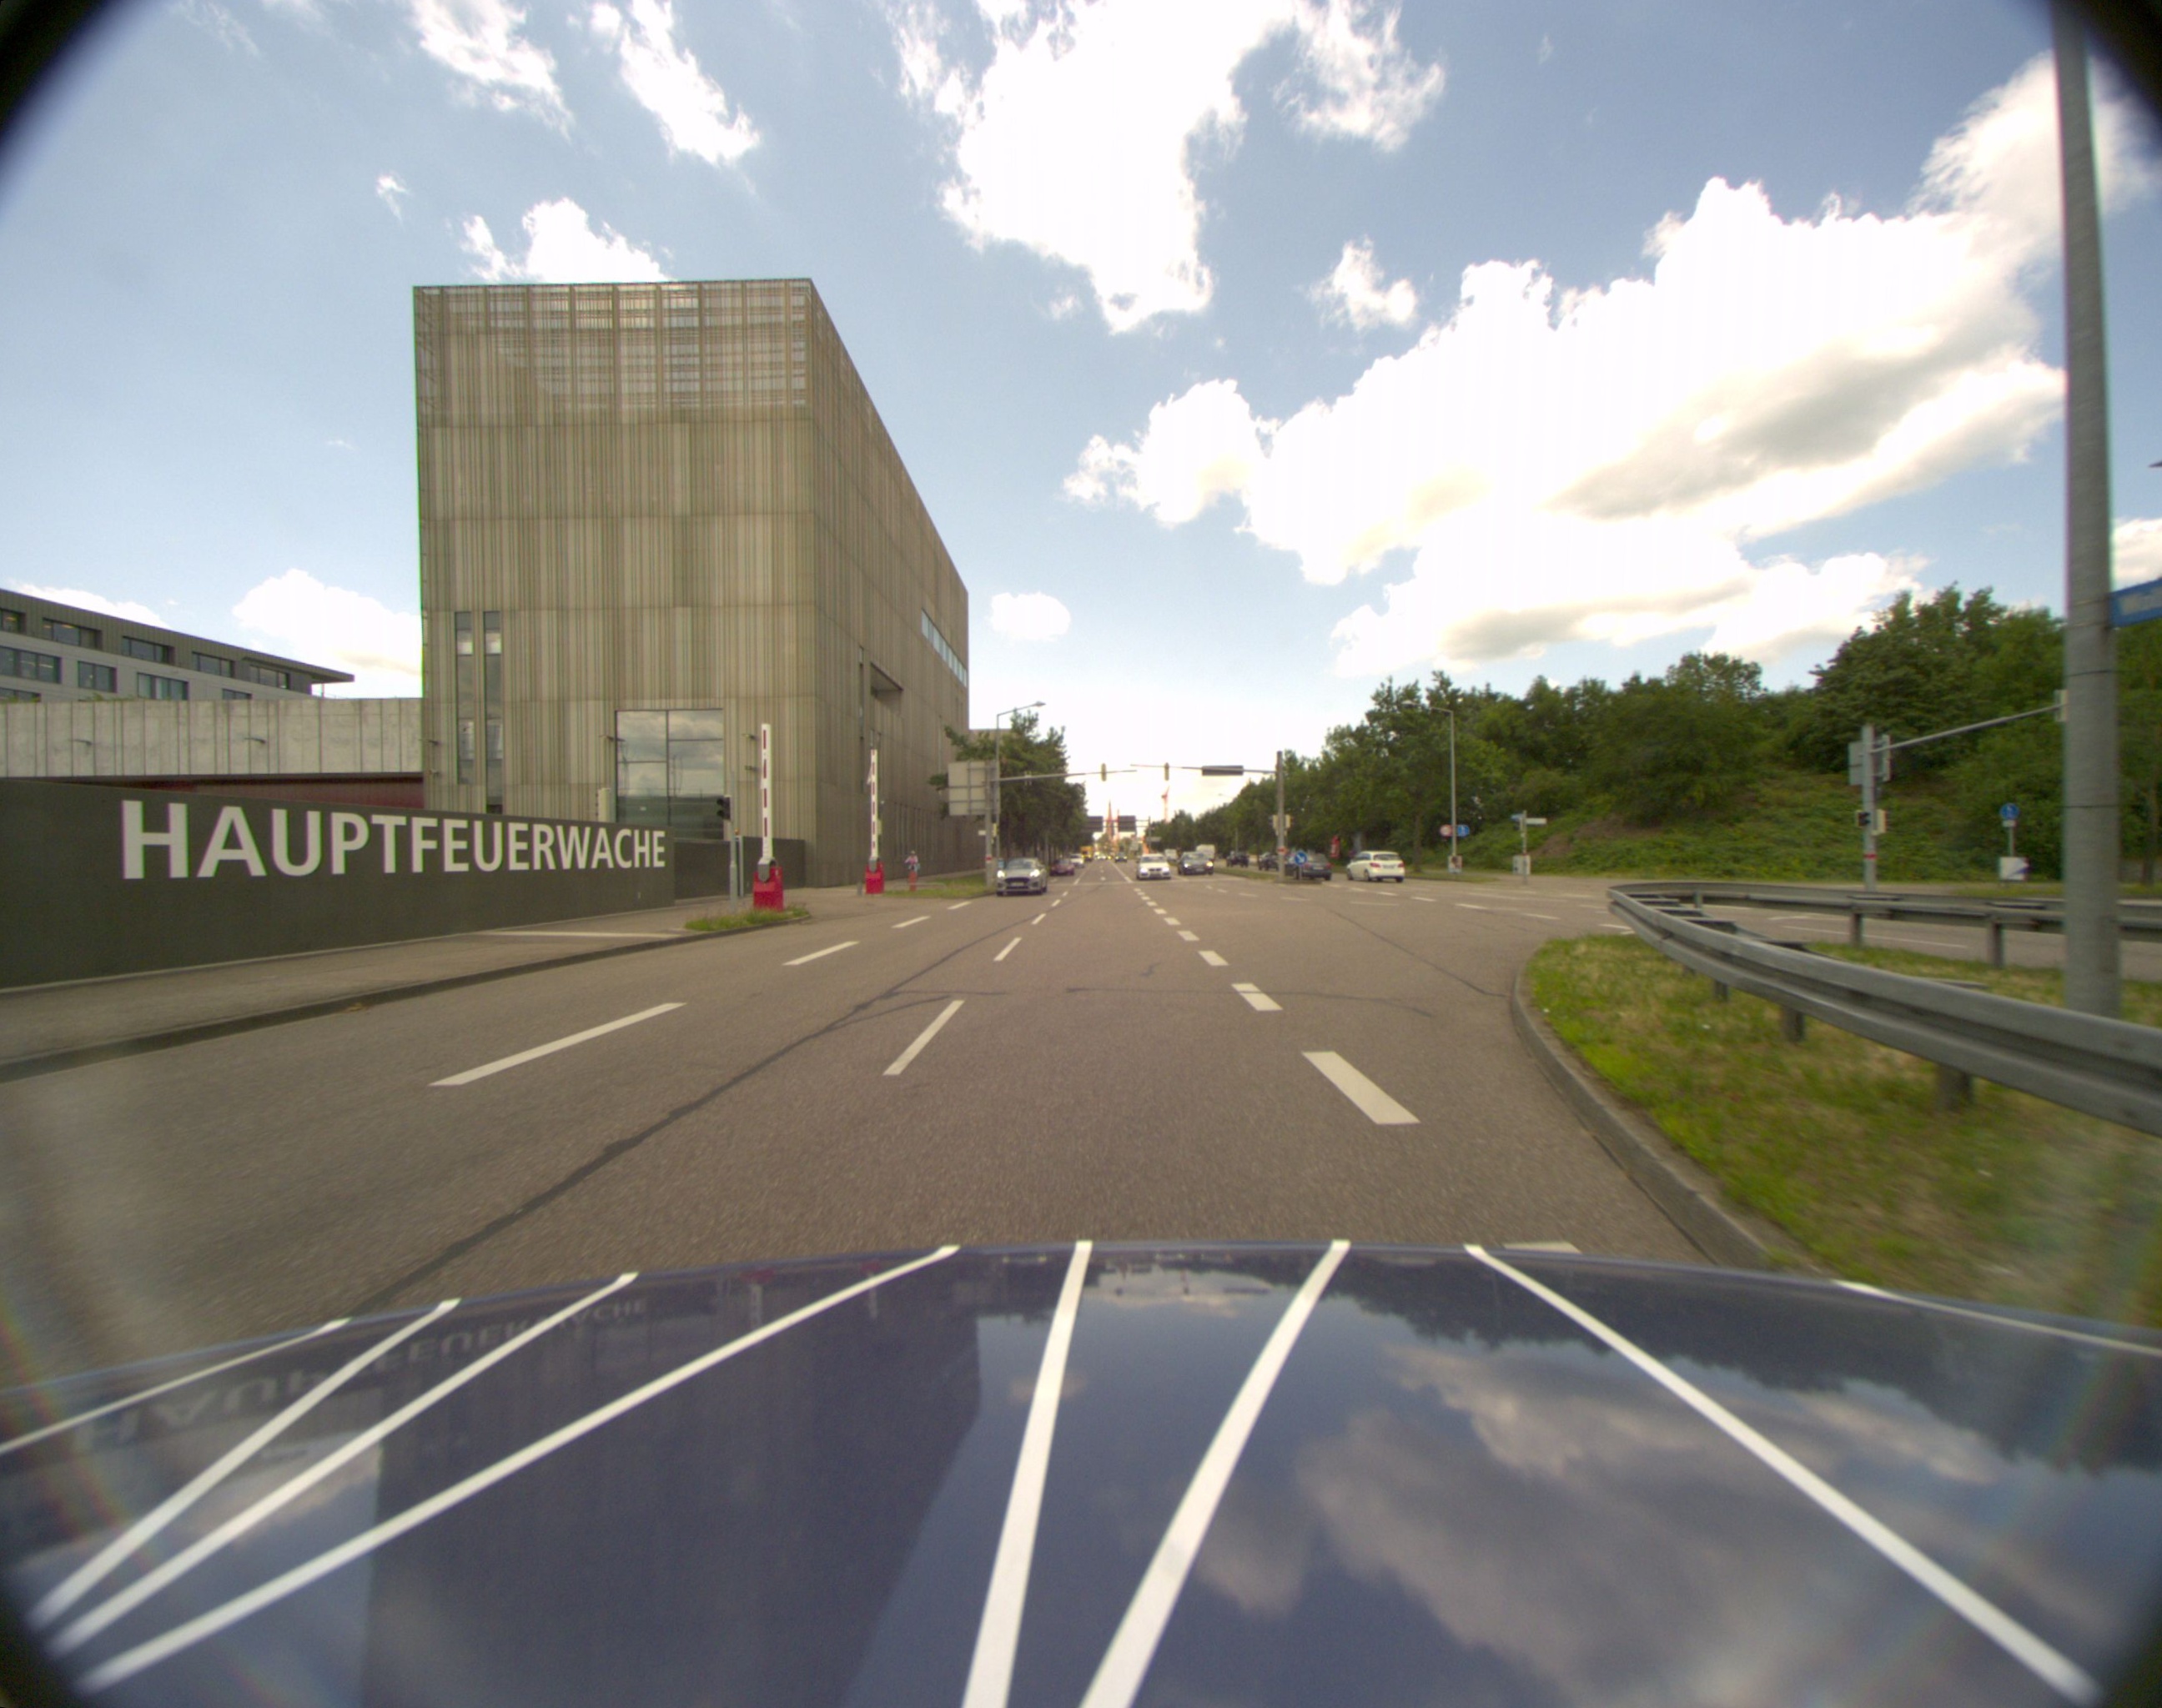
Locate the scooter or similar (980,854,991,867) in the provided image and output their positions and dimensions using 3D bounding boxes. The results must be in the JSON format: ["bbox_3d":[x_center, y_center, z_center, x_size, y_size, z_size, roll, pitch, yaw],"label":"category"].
[{"bbox_3d":[-9.595,0.642,76.758,0.706,1.239,2.480,1,0,2],"label":"scooter or similar"}]

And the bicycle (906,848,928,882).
[{"bbox_3d":[-8.918,0.582,41.350,0.721,1.763,2.533,0,0,-2],"label":"bicycle"}]

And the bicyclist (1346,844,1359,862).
[{"bbox_3d":[25.937,-0.088,72.680,0.894,1.737,0.997,-2,1,3],"label":"bicyclist"}]

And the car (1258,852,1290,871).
[{"bbox_3d":[16.405,0.617,64.603,1.930,1.521,4.001,0,1,4],"label":"car"}]

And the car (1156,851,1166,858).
[{"bbox_3d":[17.928,0.125,170.735,1.998,1.423,5.024,0,0,2],"label":"car"}]

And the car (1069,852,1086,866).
[{"bbox_3d":[-0.365,0.573,86.091,1.713,1.487,3.650,0,0,2],"label":"car"}]

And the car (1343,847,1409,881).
[{"bbox_3d":[15.098,0.487,39.099,1.810,1.622,4.392,0,0,2],"label":"car"}]

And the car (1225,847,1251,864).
[{"bbox_3d":[16.574,0.166,80.436,1.998,1.756,4.220,0,0,1],"label":"car"}]

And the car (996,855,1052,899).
[{"bbox_3d":[-2.245,0.883,31.019,1.823,1.565,3.954,-2,0,2],"label":"car"}]

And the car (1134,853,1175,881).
[{"bbox_3d":[4.094,0.701,43.006,1.920,1.406,4.296,-3,0,2],"label":"car"}]

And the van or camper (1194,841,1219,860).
[{"bbox_3d":[17.444,-0.509,105.727,2.357,2.525,7.064,-1,0,1],"label":"van or camper"}]

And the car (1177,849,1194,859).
[{"bbox_3d":[19.060,0.058,138.778,1.999,1.791,4.407,0,0,-5],"label":"car"}]

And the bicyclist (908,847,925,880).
[{"bbox_3d":[-8.917,0.519,41.257,0.717,1.758,0.988,0,1,-2],"label":"bicyclist"}]

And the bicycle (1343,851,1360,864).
[{"bbox_3d":[25.979,0.315,73.061,0.824,1.263,2.393,-2,1,2],"label":"bicycle"}]

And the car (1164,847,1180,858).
[{"bbox_3d":[15.423,-0.260,129.508,2.196,1.952,5.193,0,0,1],"label":"car"}]

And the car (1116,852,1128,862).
[{"bbox_3d":[6.386,0.409,117.377,1.782,1.487,3.599,0,0,2],"label":"car"}]

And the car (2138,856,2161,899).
[{"bbox_3d":[36.700,0.750,23.661,4.317,1.371,2.001,0,0,8],"label":"car"}]

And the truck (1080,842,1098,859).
[{"bbox_3d":[1.501,-0.664,139.490,3.066,3.095,7.935,0,0,2],"label":"truck"}]

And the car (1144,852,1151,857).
[{"bbox_3d":[20.804,0.146,237.156,1.964,1.508,4.909,0,0,1],"label":"car"}]

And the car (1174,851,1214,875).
[{"bbox_3d":[7.188,0.563,48.820,1.998,1.407,4.832,-2,0,2],"label":"car"}]

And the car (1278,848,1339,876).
[{"bbox_3d":[12.077,0.396,40.650,1.979,1.381,4.781,0,0,2],"label":"car"}]
